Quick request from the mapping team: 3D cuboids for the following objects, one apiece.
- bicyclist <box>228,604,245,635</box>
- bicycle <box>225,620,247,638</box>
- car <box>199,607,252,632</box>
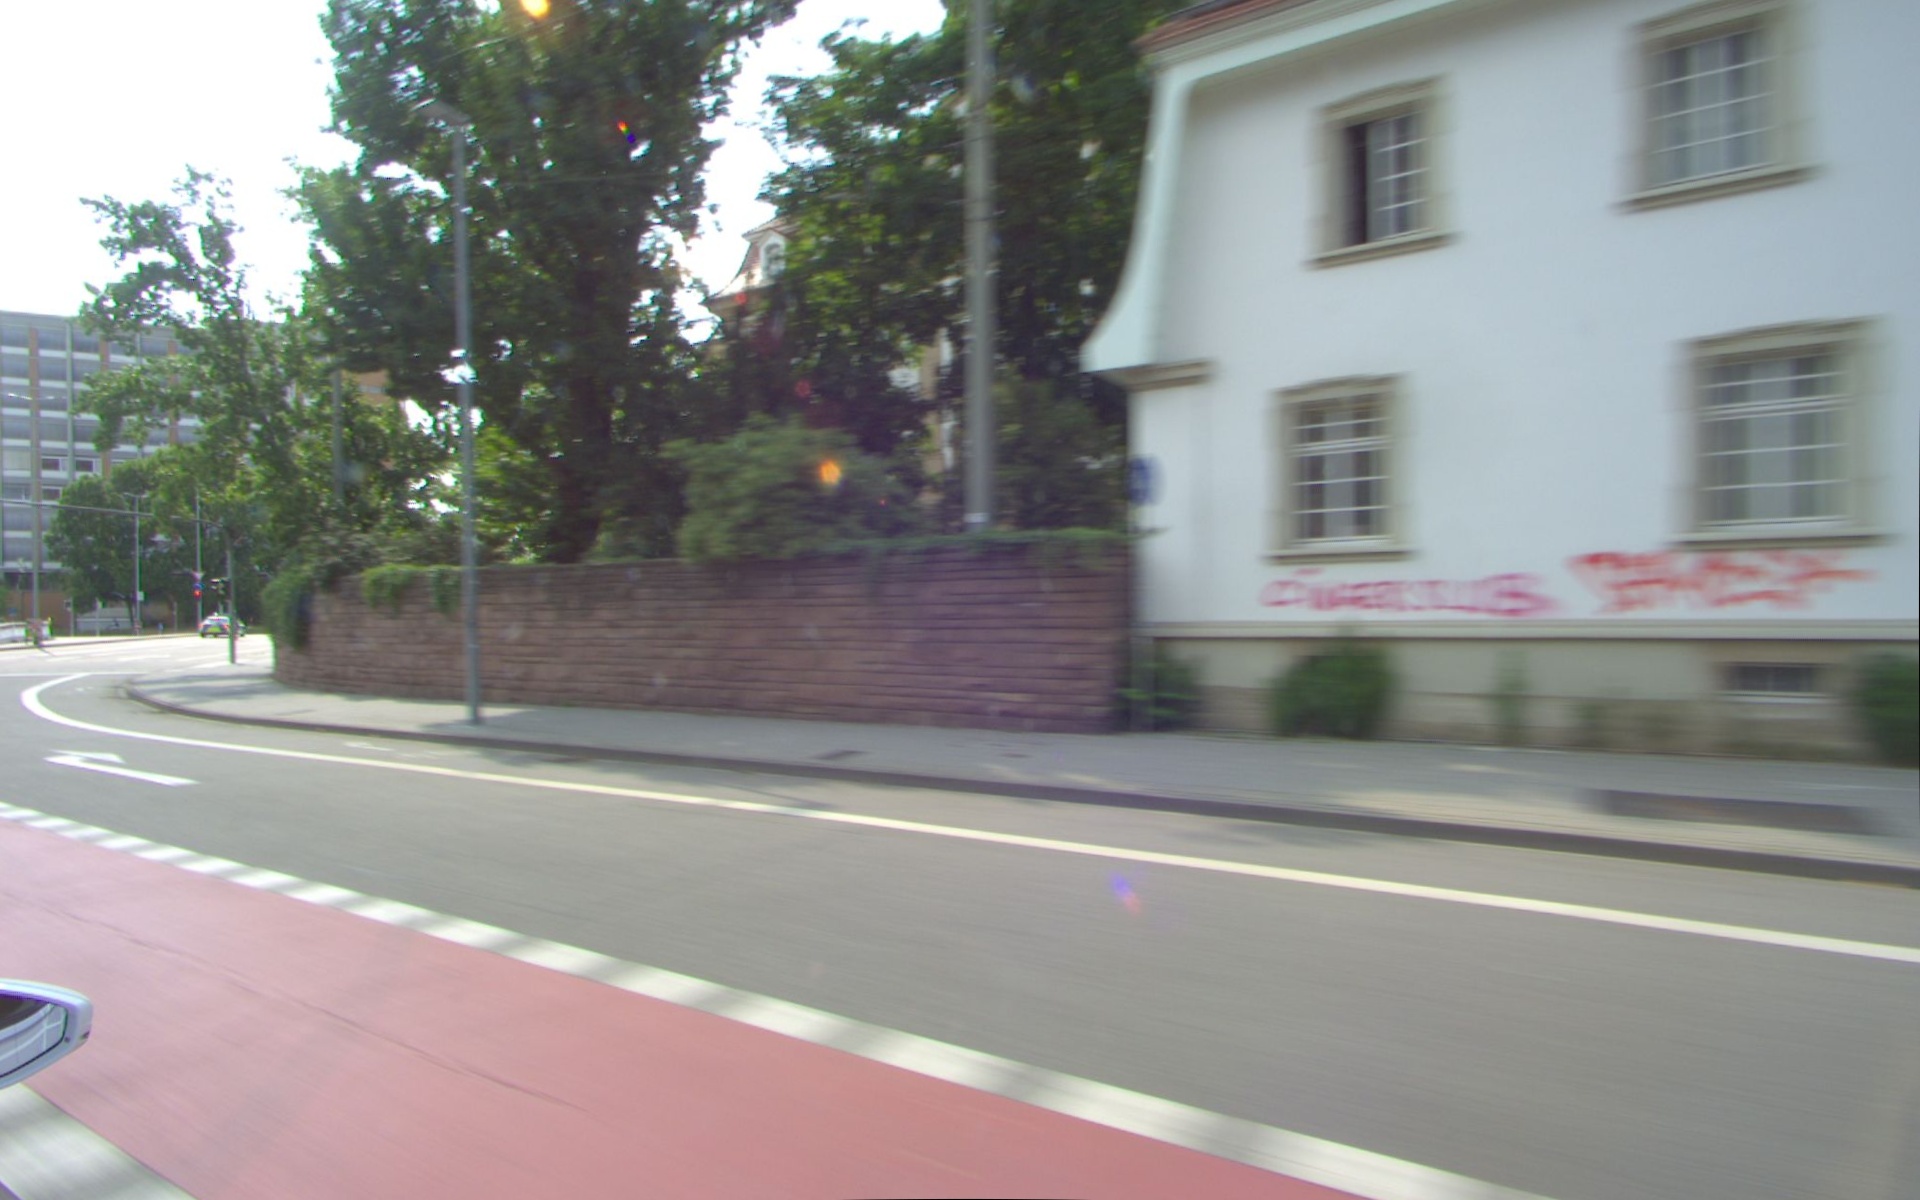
[{"bbox_3d":[-47.568,1.295,65.812,0.709,2.000,0.836,0,1,-24],"label":"bicyclist"},{"bbox_3d":[-47.567,1.875,65.817,0.711,1.098,2.182,0,1,-24],"label":"bicycle"},{"bbox_3d":[-52.229,1.372,71.267,2.103,1.705,4.088,2,-1,-24],"label":"car"}]
